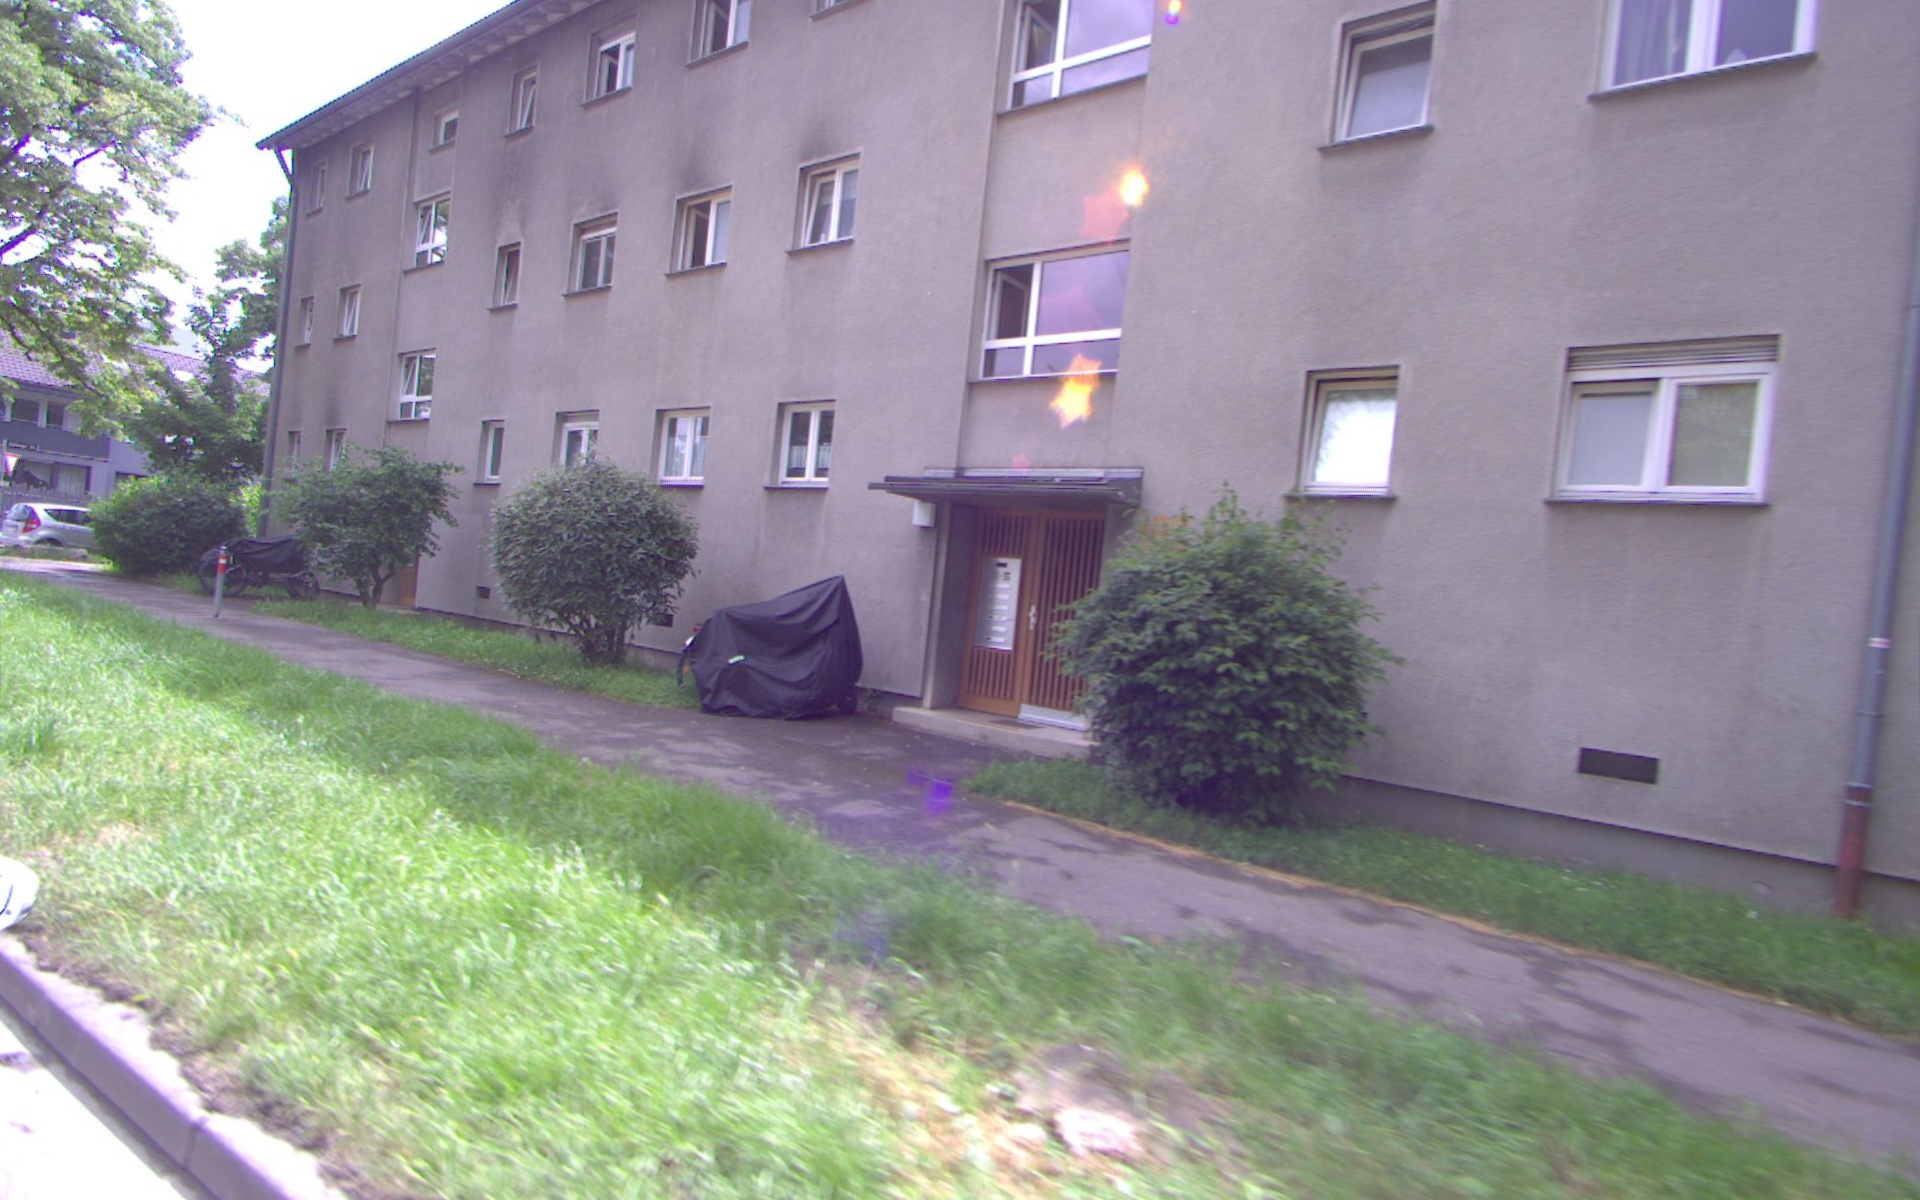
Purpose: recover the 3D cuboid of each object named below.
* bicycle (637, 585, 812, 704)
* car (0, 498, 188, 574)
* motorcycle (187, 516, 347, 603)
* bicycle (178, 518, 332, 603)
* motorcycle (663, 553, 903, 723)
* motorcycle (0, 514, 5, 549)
[{"bbox_3d":[-2.385,0.491,10.411,0.448,1.098,1.797,7,0,37],"label":"bicycle"},{"bbox_3d":[-25.486,-1.843,29.472,1.904,1.572,3.999,7,-1,24],"label":"car"},{"bbox_3d":[-12.498,-0.712,18.208,0.671,1.298,2.202,6,0,40],"label":"motorcycle"},{"bbox_3d":[-13.036,-0.704,18.668,0.671,1.298,2.164,6,0,40],"label":"bicycle"},{"bbox_3d":[-1.690,0.403,9.872,1.003,1.447,1.993,7,0,42],"label":"motorcycle"},{"bbox_3d":[-30.796,-2.205,31.744,0.656,1.162,2.398,8,-2,-39],"label":"motorcycle"}]
